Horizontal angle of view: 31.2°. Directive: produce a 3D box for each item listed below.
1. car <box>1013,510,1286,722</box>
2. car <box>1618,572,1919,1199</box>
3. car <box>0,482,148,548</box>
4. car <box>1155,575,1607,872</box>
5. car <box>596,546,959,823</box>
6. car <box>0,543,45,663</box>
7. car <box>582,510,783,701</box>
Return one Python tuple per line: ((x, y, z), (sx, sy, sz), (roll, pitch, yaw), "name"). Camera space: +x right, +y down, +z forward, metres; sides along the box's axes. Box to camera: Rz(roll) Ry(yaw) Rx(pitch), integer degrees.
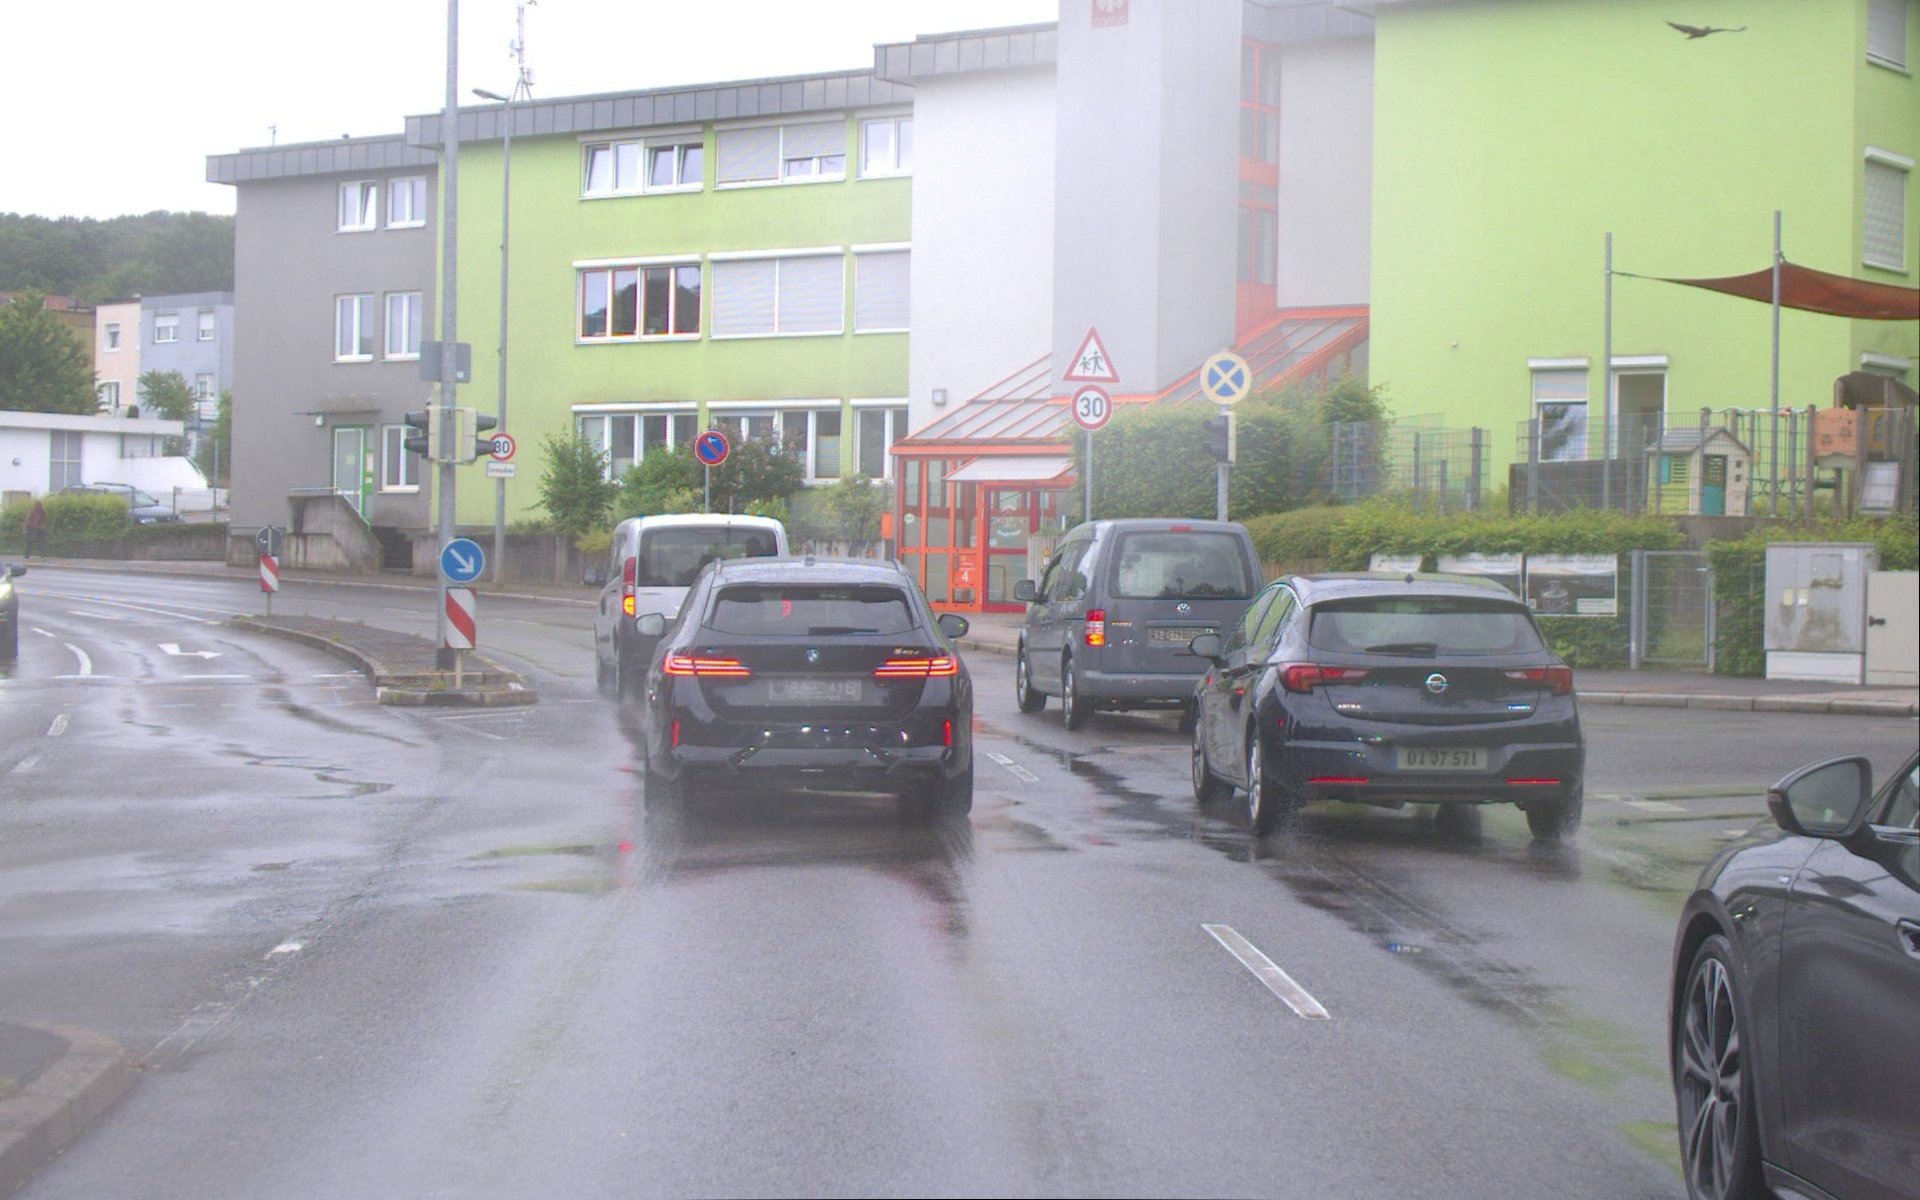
((1.617, 0.101, 30.730), (1.783, 1.728, 4.087), (-1, 1, -6), "car")
((2.480, 0.705, 5.839), (1.706, 1.422, 4.509), (1, 1, -2), "car")
((-25.204, -2.381, 96.861), (4.393, 1.766, 2.001), (-2, 1, -16), "car")
((2.317, 0.628, 19.988), (1.849, 1.481, 4.087), (0, 1, -4), "car")
((-1.188, 0.428, 20.715), (1.682, 1.501, 3.775), (0, 1, -11), "car")
((-13.490, 0.009, 46.555), (1.849, 1.559, 4.001), (0, 1, -11), "car")
((-2.920, -0.005, 35.527), (1.716, 1.838, 4.088), (0, 2, -10), "car")
